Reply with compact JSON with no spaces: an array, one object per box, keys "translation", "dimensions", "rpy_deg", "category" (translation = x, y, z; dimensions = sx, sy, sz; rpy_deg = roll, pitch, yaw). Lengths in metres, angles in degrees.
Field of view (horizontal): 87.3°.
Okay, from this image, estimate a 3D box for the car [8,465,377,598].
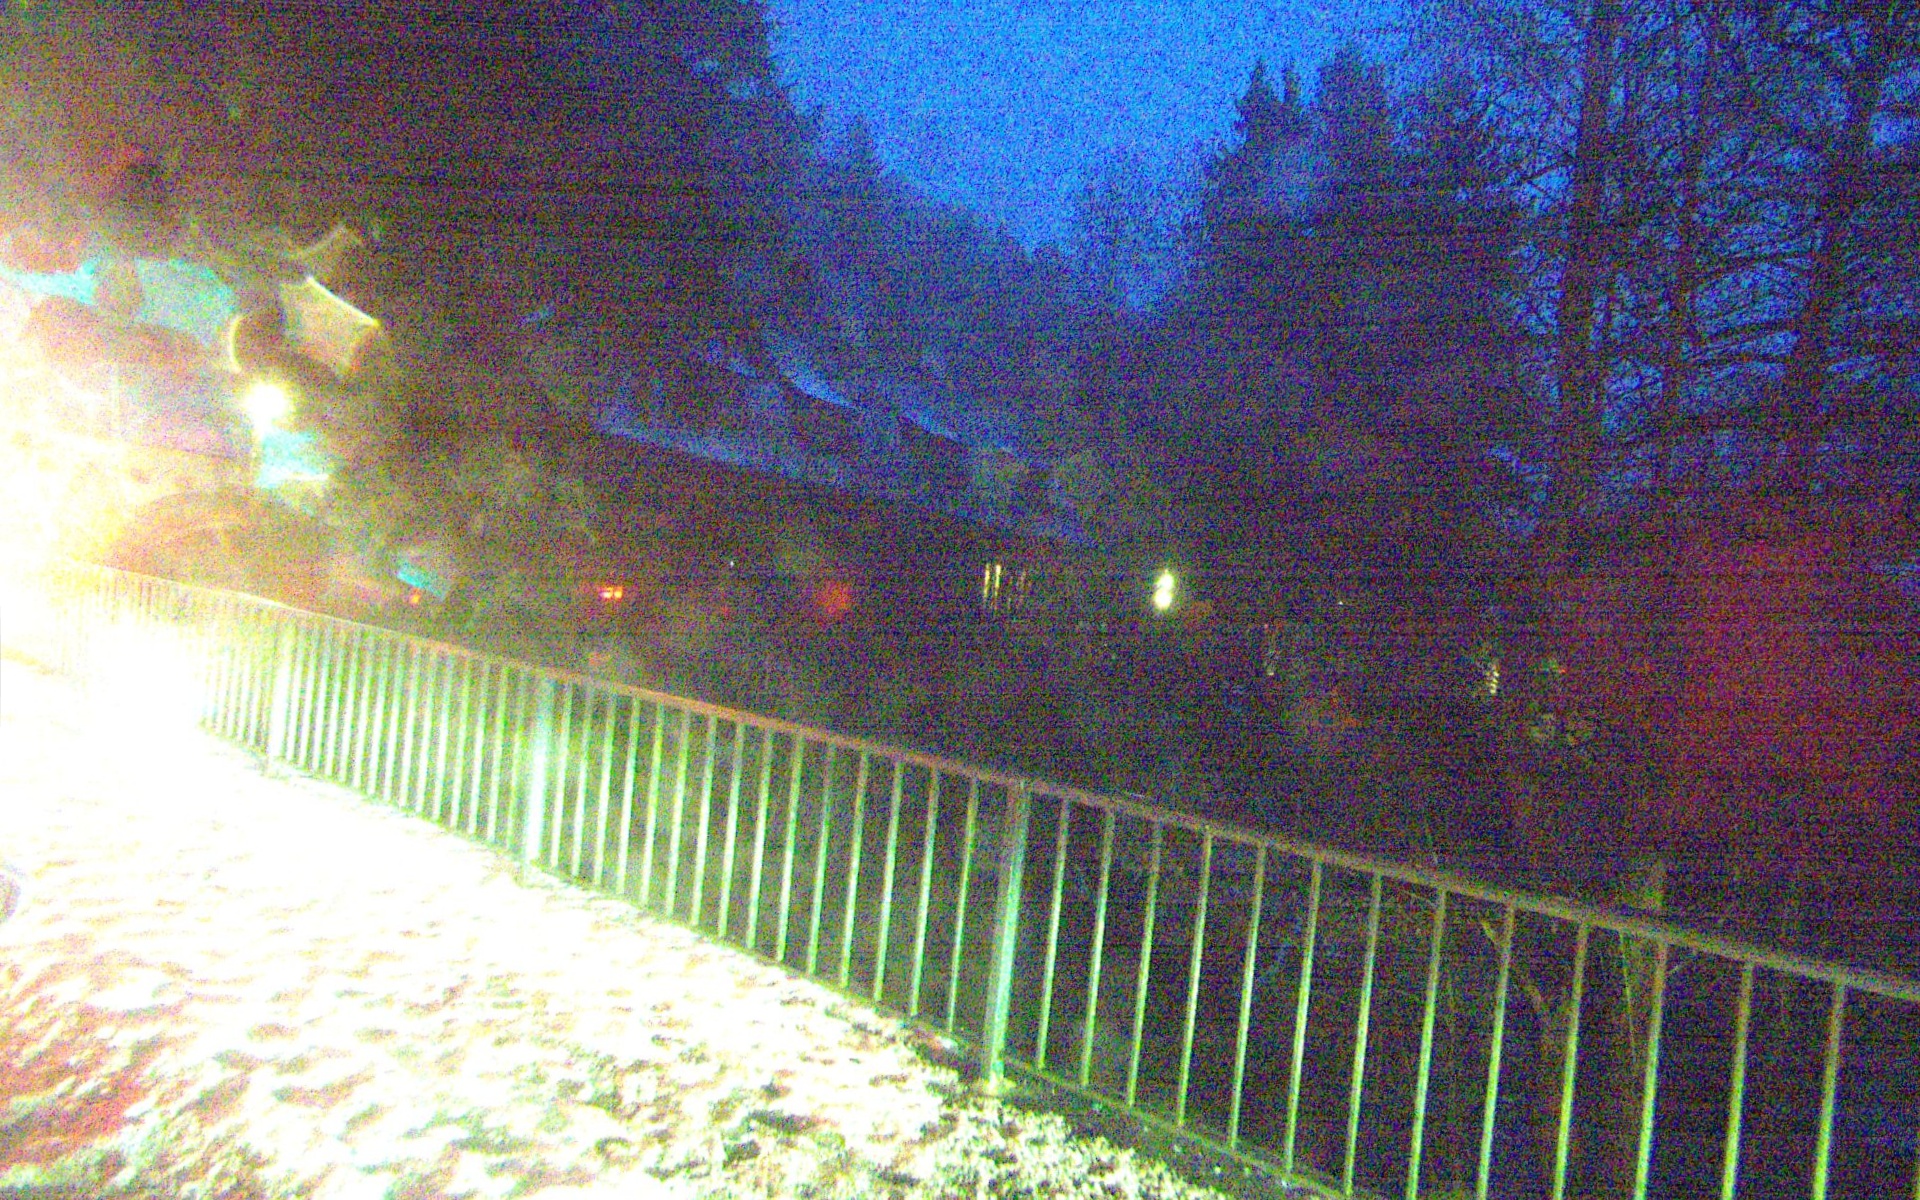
[{"translation":[-12.242,-1.036,16.274],"dimensions":[1.913,1.607,4.455],"rpy_deg":[8,3,43],"category":"car"}]
